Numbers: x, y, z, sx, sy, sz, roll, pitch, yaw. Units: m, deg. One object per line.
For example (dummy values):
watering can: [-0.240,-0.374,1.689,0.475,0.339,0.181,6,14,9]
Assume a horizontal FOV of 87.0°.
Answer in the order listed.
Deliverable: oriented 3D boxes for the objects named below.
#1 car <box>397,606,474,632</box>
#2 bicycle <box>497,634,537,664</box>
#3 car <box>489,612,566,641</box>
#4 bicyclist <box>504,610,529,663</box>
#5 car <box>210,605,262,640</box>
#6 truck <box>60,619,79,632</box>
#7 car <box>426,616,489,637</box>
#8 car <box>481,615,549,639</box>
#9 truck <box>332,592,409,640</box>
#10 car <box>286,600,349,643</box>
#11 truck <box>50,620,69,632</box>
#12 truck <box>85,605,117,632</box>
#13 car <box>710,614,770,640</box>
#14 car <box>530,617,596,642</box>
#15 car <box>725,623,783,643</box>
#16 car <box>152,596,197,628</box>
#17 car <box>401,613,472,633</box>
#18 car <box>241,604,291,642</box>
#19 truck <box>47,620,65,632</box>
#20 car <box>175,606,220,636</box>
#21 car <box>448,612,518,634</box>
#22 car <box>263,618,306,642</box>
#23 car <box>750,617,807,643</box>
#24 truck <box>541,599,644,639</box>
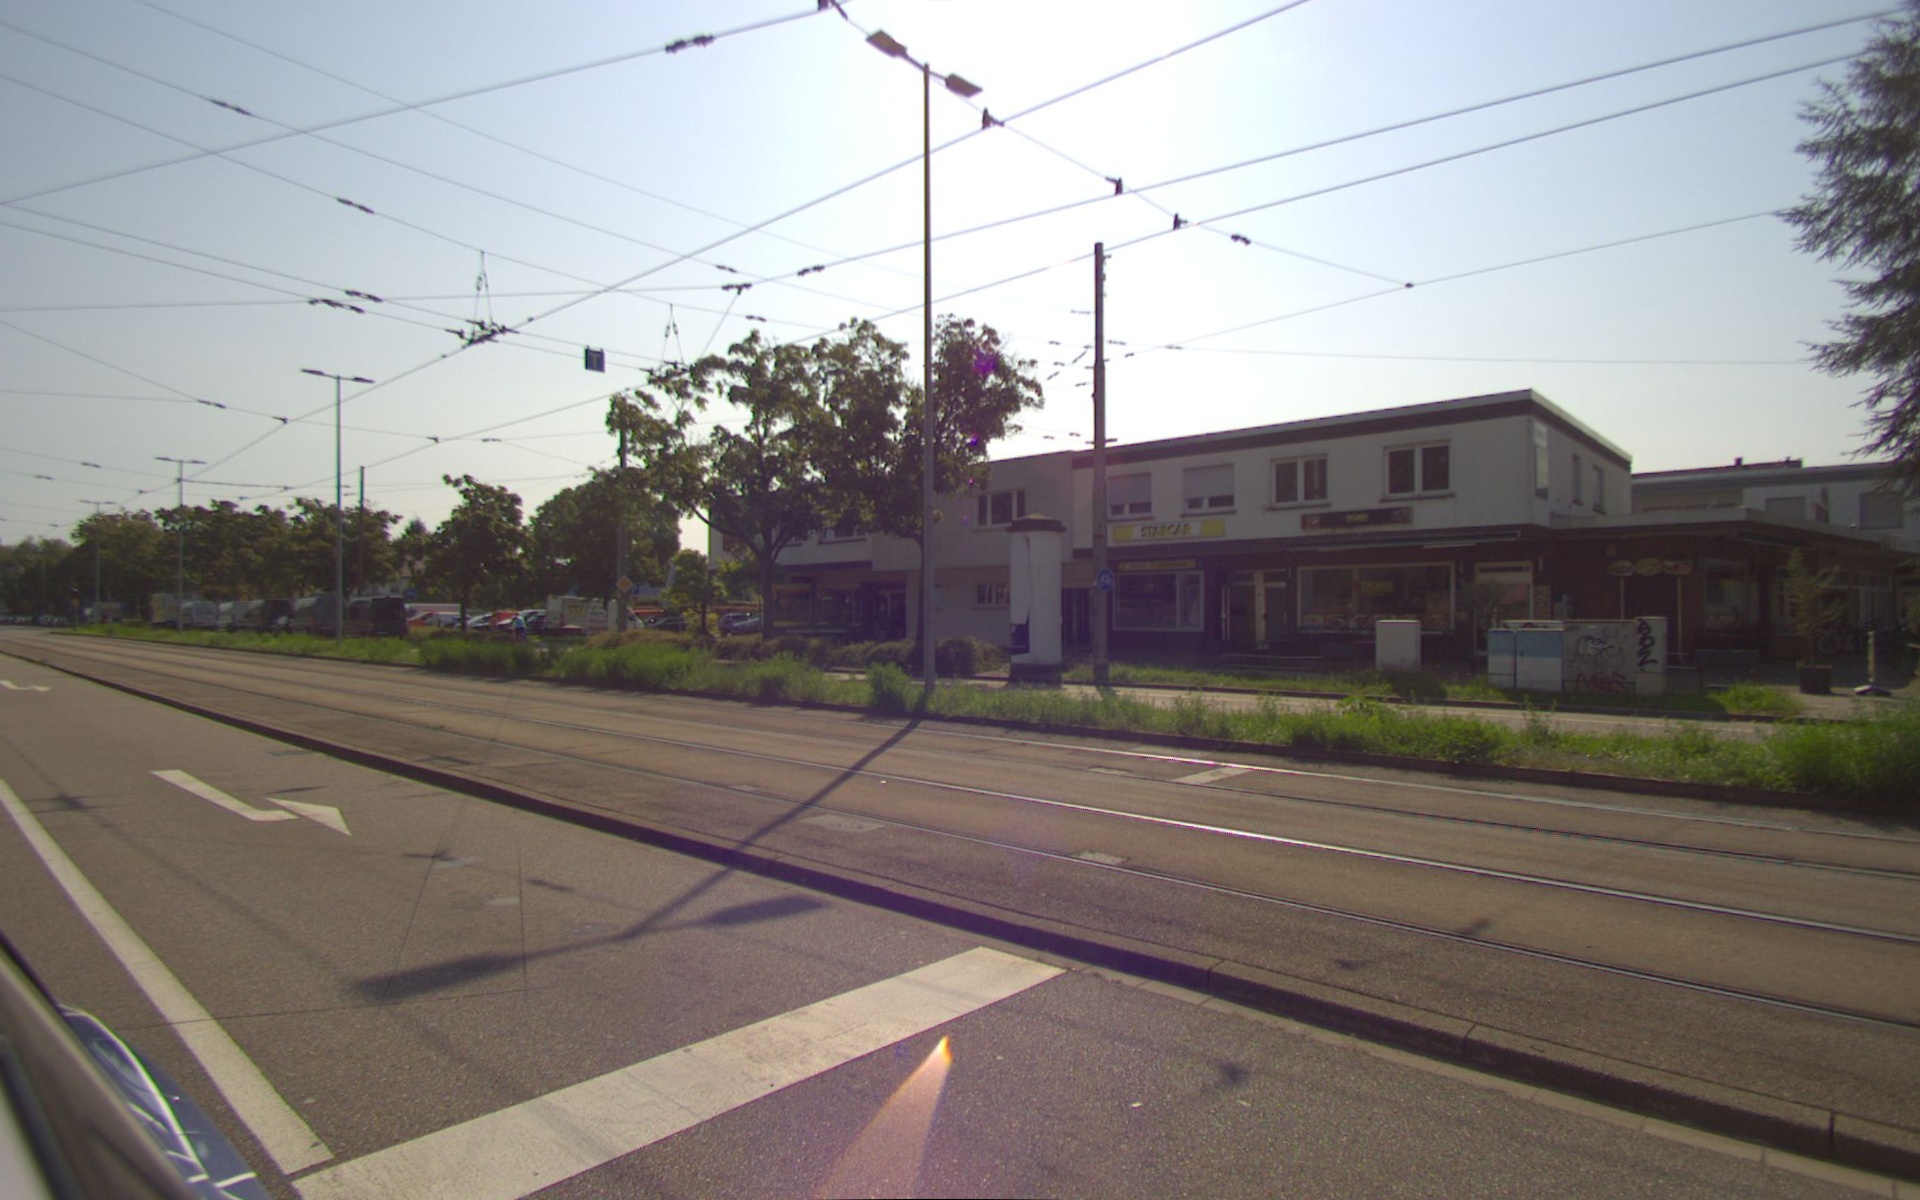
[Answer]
car: [-42.572,1.562,82.174,2.052,1.940,5.130,-1,-3,41]
bicycle: [-17.338,1.907,39.600,0.706,1.099,2.268,3,-3,-42]
car: [-28.213,1.726,66.104,1.633,1.798,4.352,-1,-3,41]
bicyclist: [-17.371,1.426,39.658,0.629,2.080,0.775,3,-3,-42]
car: [-55.579,1.723,77.680,5.631,2.606,2.109,-1,-3,43]
truck: [-126.964,3.616,144.251,3.656,1.687,1.668,-1,-3,43]
car: [-37.389,2.000,75.375,1.633,1.461,3.881,-1,-3,41]
car: [-29.978,1.848,68.270,1.633,1.530,3.881,-1,-3,41]
truck: [-33.210,0.915,56.947,5.738,2.567,2.058,-1,-3,42]
car: [-40.573,1.331,63.813,6.470,2.606,1.965,-1,0,45]
truck: [-134.522,3.935,151.179,3.656,1.687,1.668,-1,-3,43]
truck: [-104.887,2.295,123.566,2.247,3.145,8.792,3,-3,-44]
car: [-15.779,1.967,72.625,3.757,1.782,1.760,3,-3,-42]
car: [-24.509,1.834,62.527,1.633,1.437,3.368,-1,-3,41]
car: [-14.141,2.243,69.440,3.659,1.353,1.493,1,-2,-40]
car: [-73.056,1.168,94.095,7.232,2.826,2.101,-1,-3,43]
car: [-40.943,1.790,79.202,1.633,1.461,4.604,-1,-3,41]
car: [-49.587,1.637,72.288,5.911,2.606,1.802,-1,-1,44]
truck: [-137.558,3.977,153.976,3.656,1.687,1.668,-1,-3,43]
car: [-65.898,1.823,87.465,4.830,2.477,2.120,-1,-3,42]
car: [-33.607,1.660,71.334,4.108,1.474,1.626,2,-3,-44]
car: [-45.337,2.006,67.922,1.724,1.564,3.836,0,-1,-45]
car: [-12.211,1.978,68.357,1.875,1.513,3.412,2,2,39]
truck: [-22.200,1.184,61.279,2.259,2.189,5.431,-1,-3,41]
